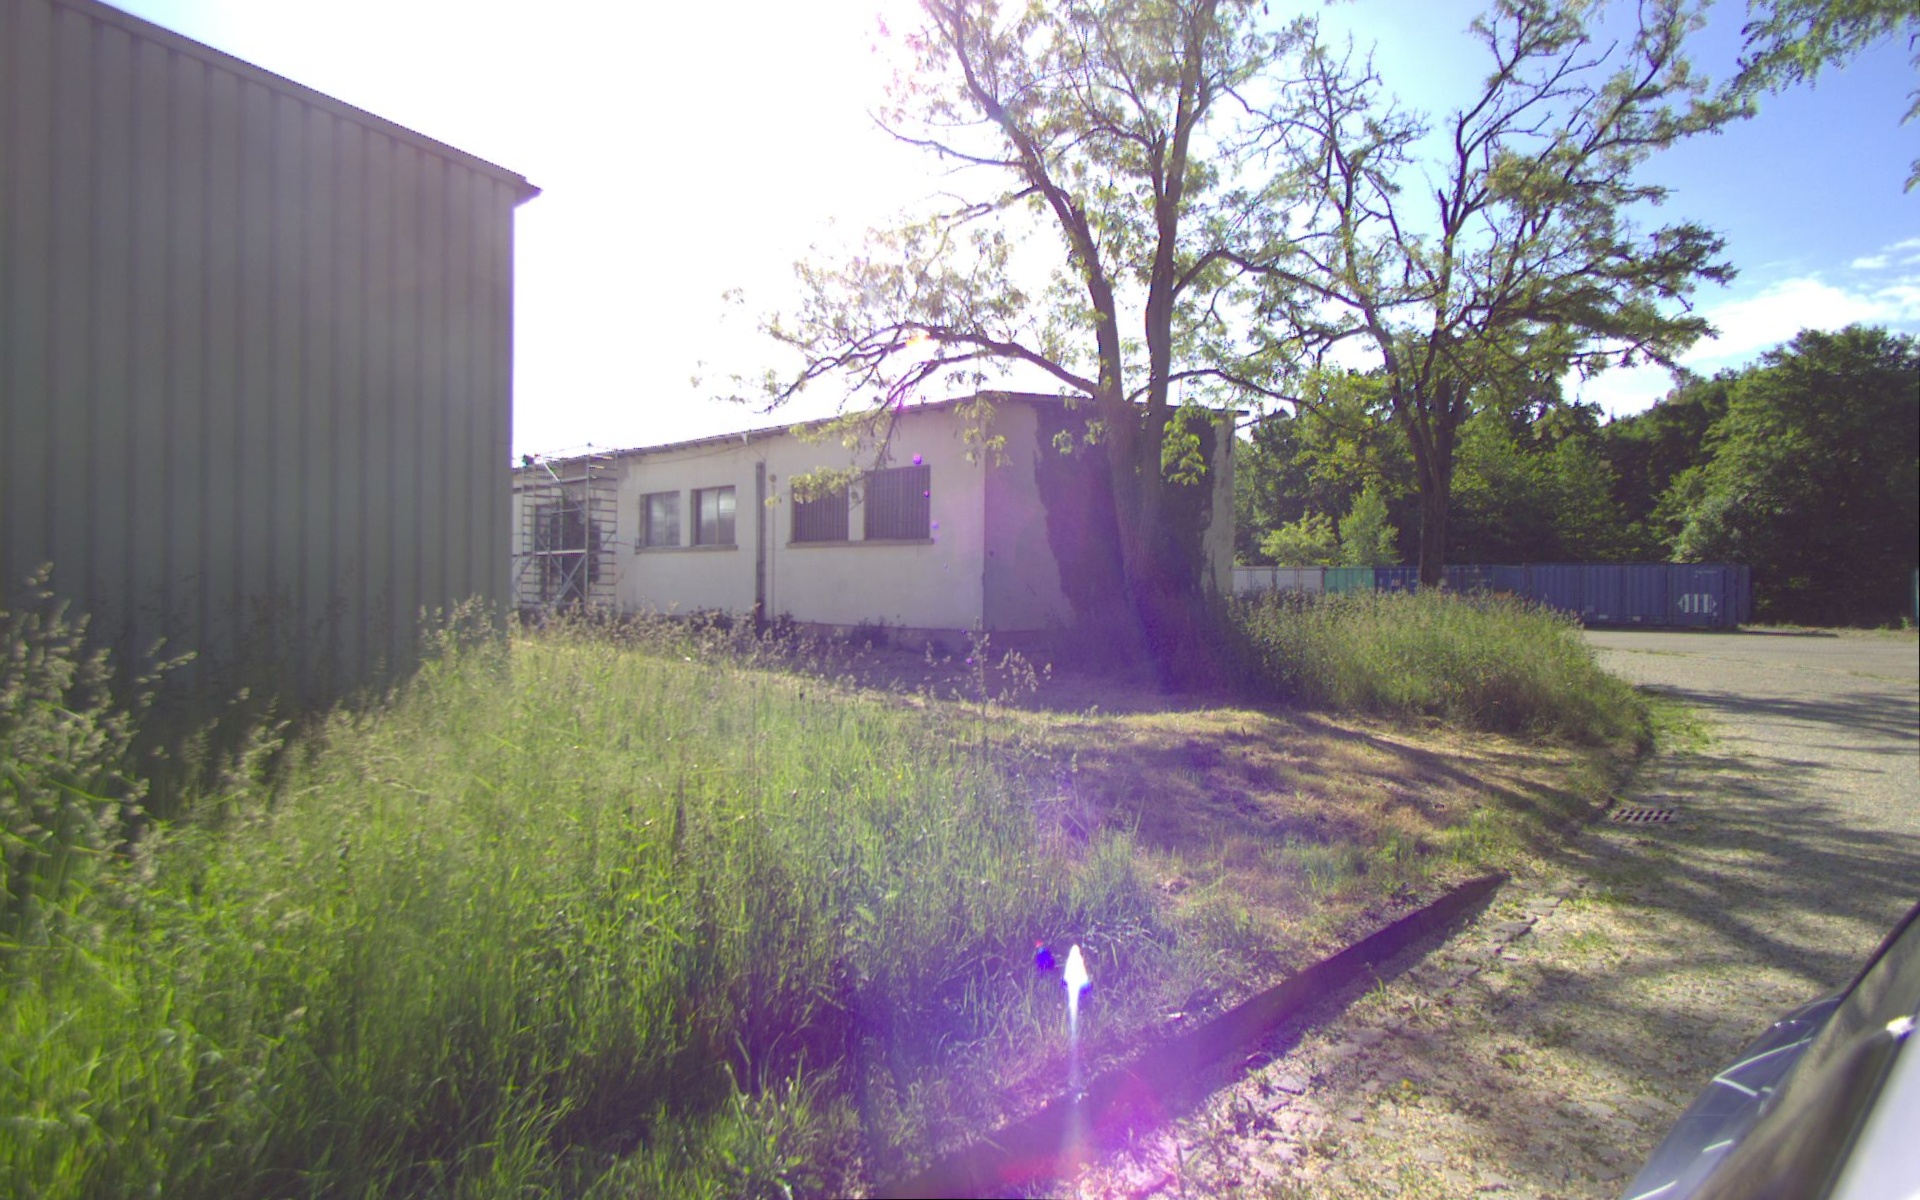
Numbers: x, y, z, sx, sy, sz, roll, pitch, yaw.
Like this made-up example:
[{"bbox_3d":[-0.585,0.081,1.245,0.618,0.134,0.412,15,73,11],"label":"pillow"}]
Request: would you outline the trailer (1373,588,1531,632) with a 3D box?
[{"bbox_3d":[18.394,0.323,37.946,4.843,1.432,2.609,2,2,42],"label":"trailer"}]
